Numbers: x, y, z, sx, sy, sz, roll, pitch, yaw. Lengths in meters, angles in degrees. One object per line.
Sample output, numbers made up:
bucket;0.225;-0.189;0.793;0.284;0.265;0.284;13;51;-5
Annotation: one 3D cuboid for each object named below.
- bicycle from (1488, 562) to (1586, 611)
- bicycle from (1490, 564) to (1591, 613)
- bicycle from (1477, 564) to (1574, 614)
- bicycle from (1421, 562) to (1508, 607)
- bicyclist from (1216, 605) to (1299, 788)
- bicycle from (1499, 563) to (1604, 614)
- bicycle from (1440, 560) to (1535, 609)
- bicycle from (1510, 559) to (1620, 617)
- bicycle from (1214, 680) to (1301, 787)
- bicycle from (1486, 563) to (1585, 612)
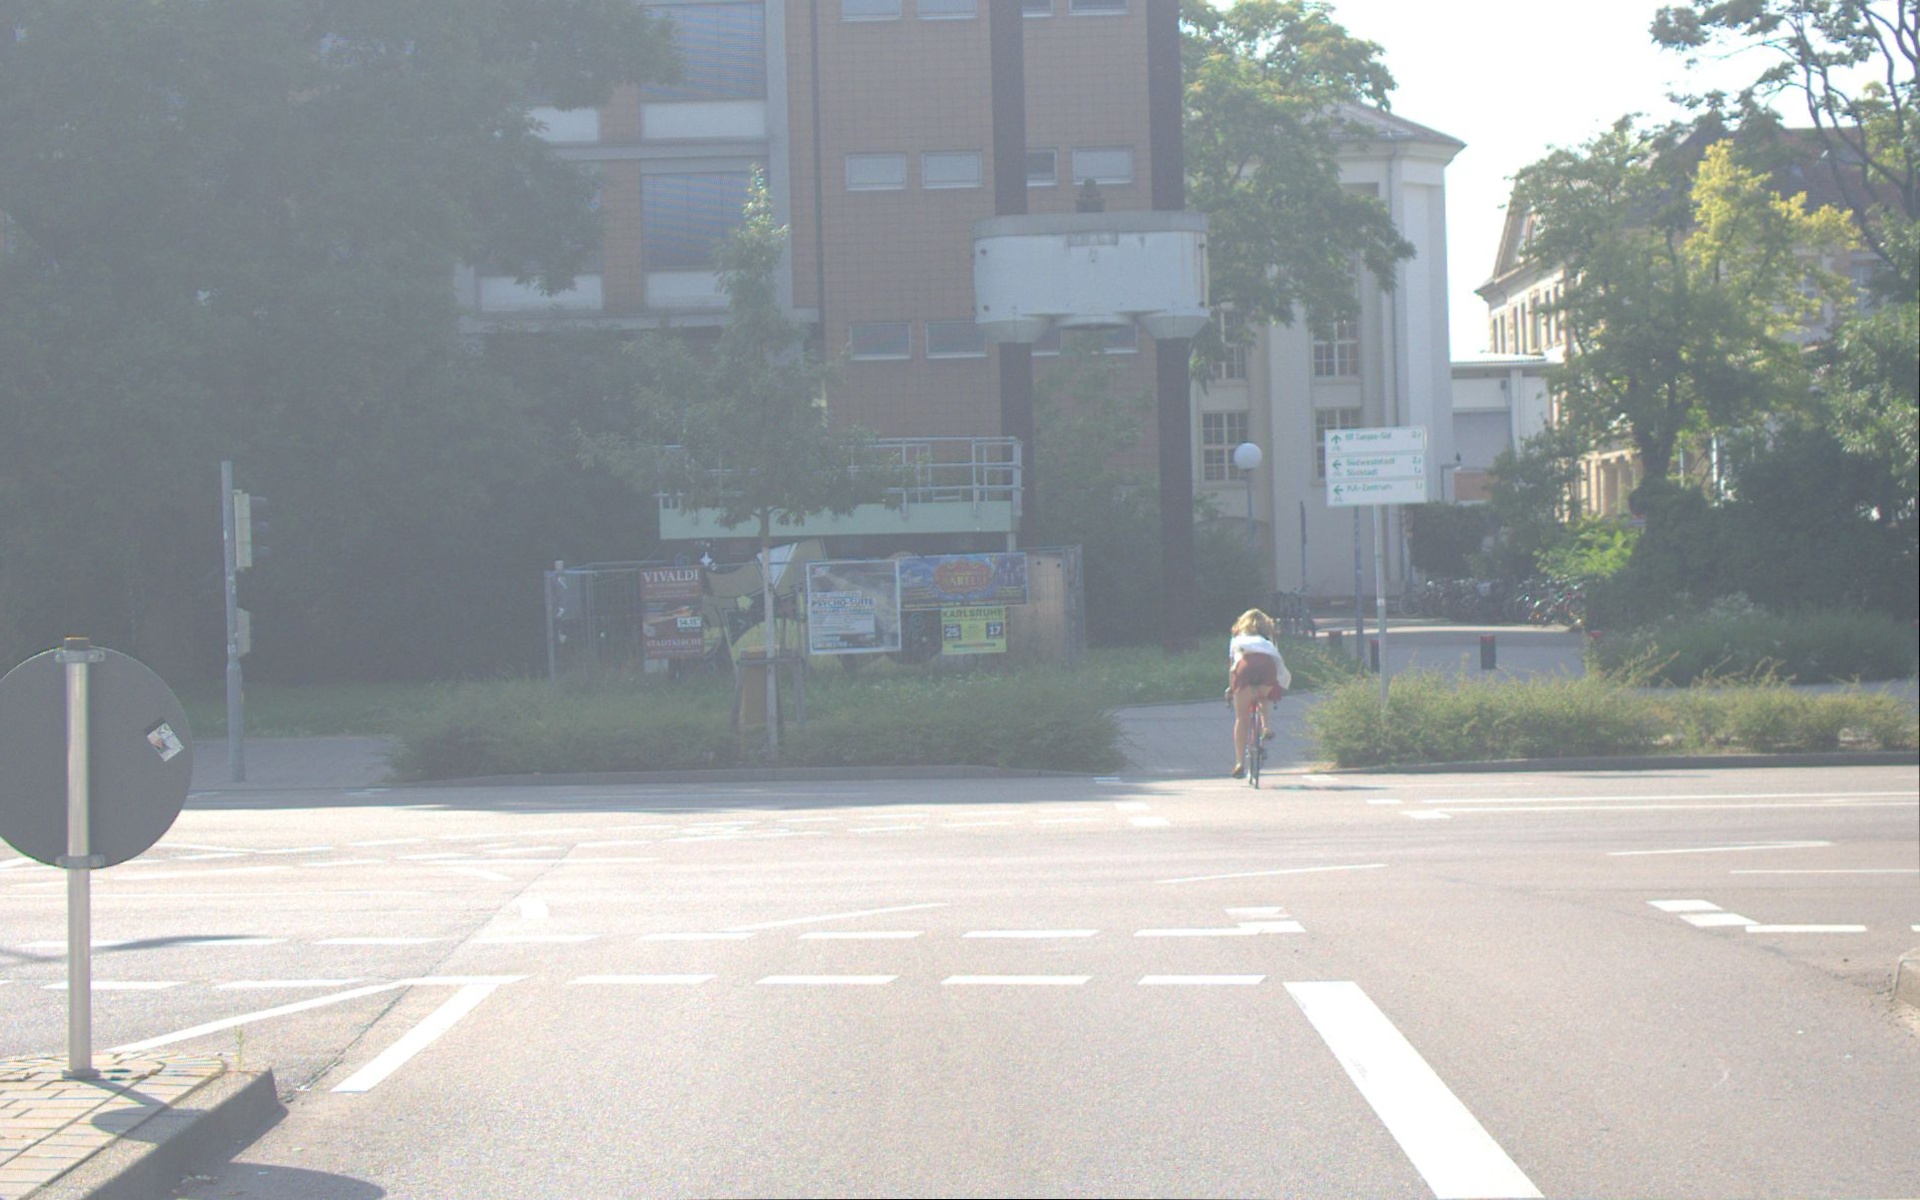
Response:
bicycle;14.767;-0.342;88.062;2.427;1.225;0.720;0;0;5
bicycle;14.549;-0.293;86.171;2.427;1.230;0.720;0;0;5
bicycle;14.742;-0.291;89.648;2.427;1.277;0.720;0;0;5
bicycle;14.481;-0.453;98.690;2.427;1.276;0.720;0;0;5
bicyclist;2.695;0.863;31.109;0.650;1.596;0.919;-2;0;8
bicycle;14.268;-0.280;82.970;2.427;1.219;0.720;0;0;5
bicycle;13.950;-0.408;90.947;2.427;1.277;0.720;0;0;5
bicycle;13.950;-0.279;79.305;2.427;1.314;0.720;0;0;5
bicycle;2.691;1.196;31.000;0.673;0.876;1.400;-2;0;9
bicycle;14.556;-0.315;87.026;2.427;1.235;0.720;0;0;5
